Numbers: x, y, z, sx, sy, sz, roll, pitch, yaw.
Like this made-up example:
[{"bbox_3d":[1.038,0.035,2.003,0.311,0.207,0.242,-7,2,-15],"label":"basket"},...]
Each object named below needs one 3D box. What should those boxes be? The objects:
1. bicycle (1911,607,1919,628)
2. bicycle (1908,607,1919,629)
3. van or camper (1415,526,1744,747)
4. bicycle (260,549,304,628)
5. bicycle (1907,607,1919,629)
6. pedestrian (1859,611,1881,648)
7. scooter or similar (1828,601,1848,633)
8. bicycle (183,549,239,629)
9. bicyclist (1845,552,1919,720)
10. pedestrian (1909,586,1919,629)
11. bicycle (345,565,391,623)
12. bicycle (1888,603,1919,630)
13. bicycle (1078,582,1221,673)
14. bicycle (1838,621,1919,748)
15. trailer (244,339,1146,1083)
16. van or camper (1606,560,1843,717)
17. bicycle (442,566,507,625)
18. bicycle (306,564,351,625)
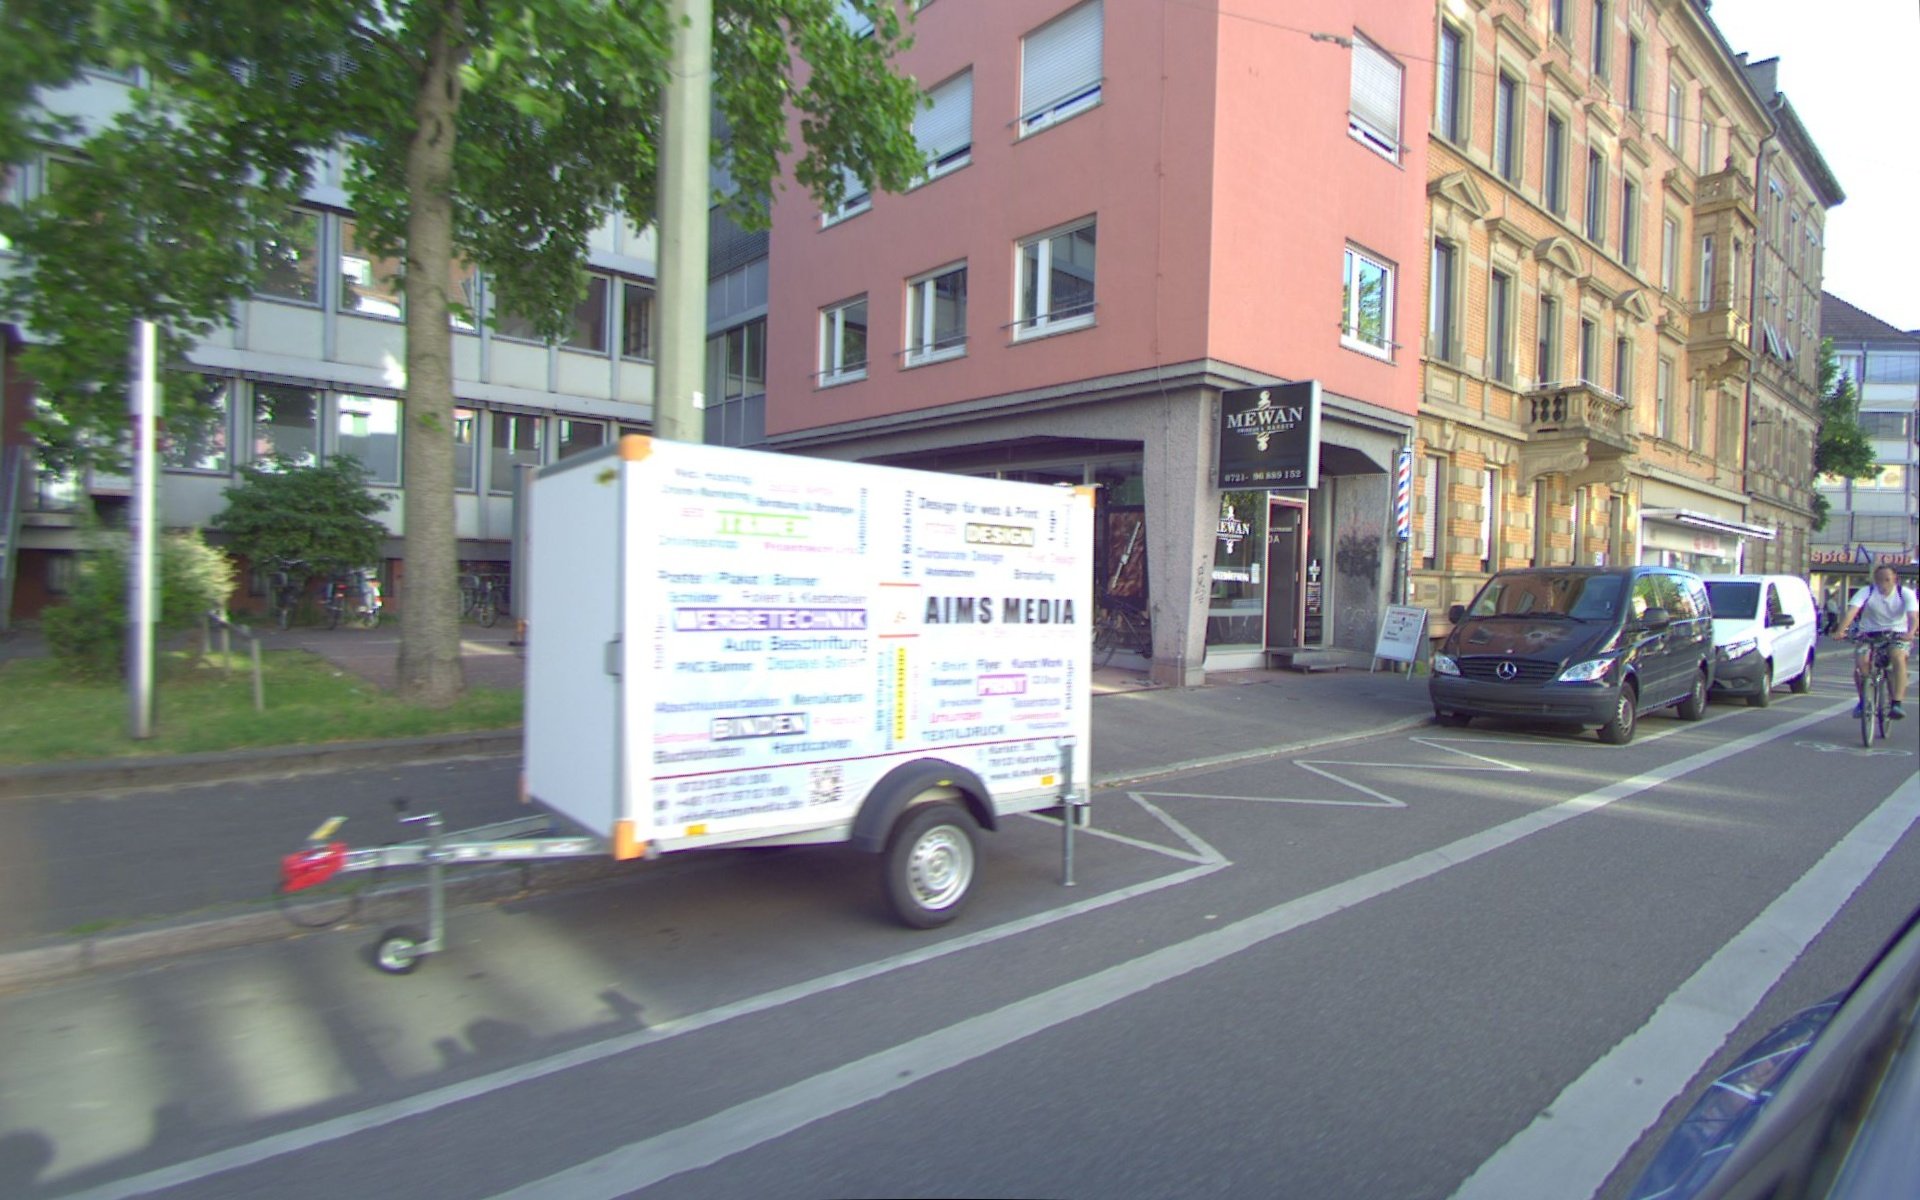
[{"bbox_3d":[51.789,0.960,53.621,0.554,1.120,1.949,1,2,-42],"label":"bicycle"},{"bbox_3d":[50.327,0.972,52.262,0.554,1.120,1.949,1,2,-42],"label":"bicycle"},{"bbox_3d":[7.527,0.332,12.016,5.240,2.071,1.973,0,0,-42],"label":"van or camper"},{"bbox_3d":[-10.878,-0.203,16.220,0.441,1.139,1.588,1,4,-38],"label":"bicycle"},{"bbox_3d":[49.868,0.974,51.819,0.554,1.120,1.949,1,2,-42],"label":"bicycle"},{"bbox_3d":[36.616,1.186,40.732,0.577,1.432,0.569,1,1,36],"label":"pedestrian"},{"bbox_3d":[37.795,0.718,43.559,0.389,1.305,1.504,3,1,33],"label":"scooter or similar"},{"bbox_3d":[-11.640,-0.193,15.716,1.584,1.128,0.442,6,4,44],"label":"bicycle"},{"bbox_3d":[9.795,0.352,10.608,0.912,1.676,0.656,0,1,-43],"label":"bicyclist"},{"bbox_3d":[41.552,0.306,43.747,0.924,1.845,0.594,1,0,-37],"label":"pedestrian"},{"bbox_3d":[-10.110,-0.117,17.259,0.441,0.886,1.588,1,4,-38],"label":"bicycle"},{"bbox_3d":[41.573,0.732,43.804,0.588,1.107,1.944,1,2,-37],"label":"bicycle"},{"bbox_3d":[2.606,0.368,14.006,1.846,1.147,0.427,2,2,1],"label":"bicycle"},{"bbox_3d":[9.750,0.831,10.576,2.060,1.153,0.648,0,1,-43],"label":"bicycle"},{"bbox_3d":[-1.002,0.306,4.767,3.774,2.143,1.664,0,0,-39],"label":"trailer"},{"bbox_3d":[12.059,0.465,15.805,5.381,2.062,1.934,-1,1,-42],"label":"van or camper"},{"bbox_3d":[-8.910,-0.098,18.540,1.581,0.974,0.443,5,4,40],"label":"bicycle"},{"bbox_3d":[-10.445,-0.104,16.716,0.441,0.886,1.588,1,4,-38],"label":"bicycle"}]
